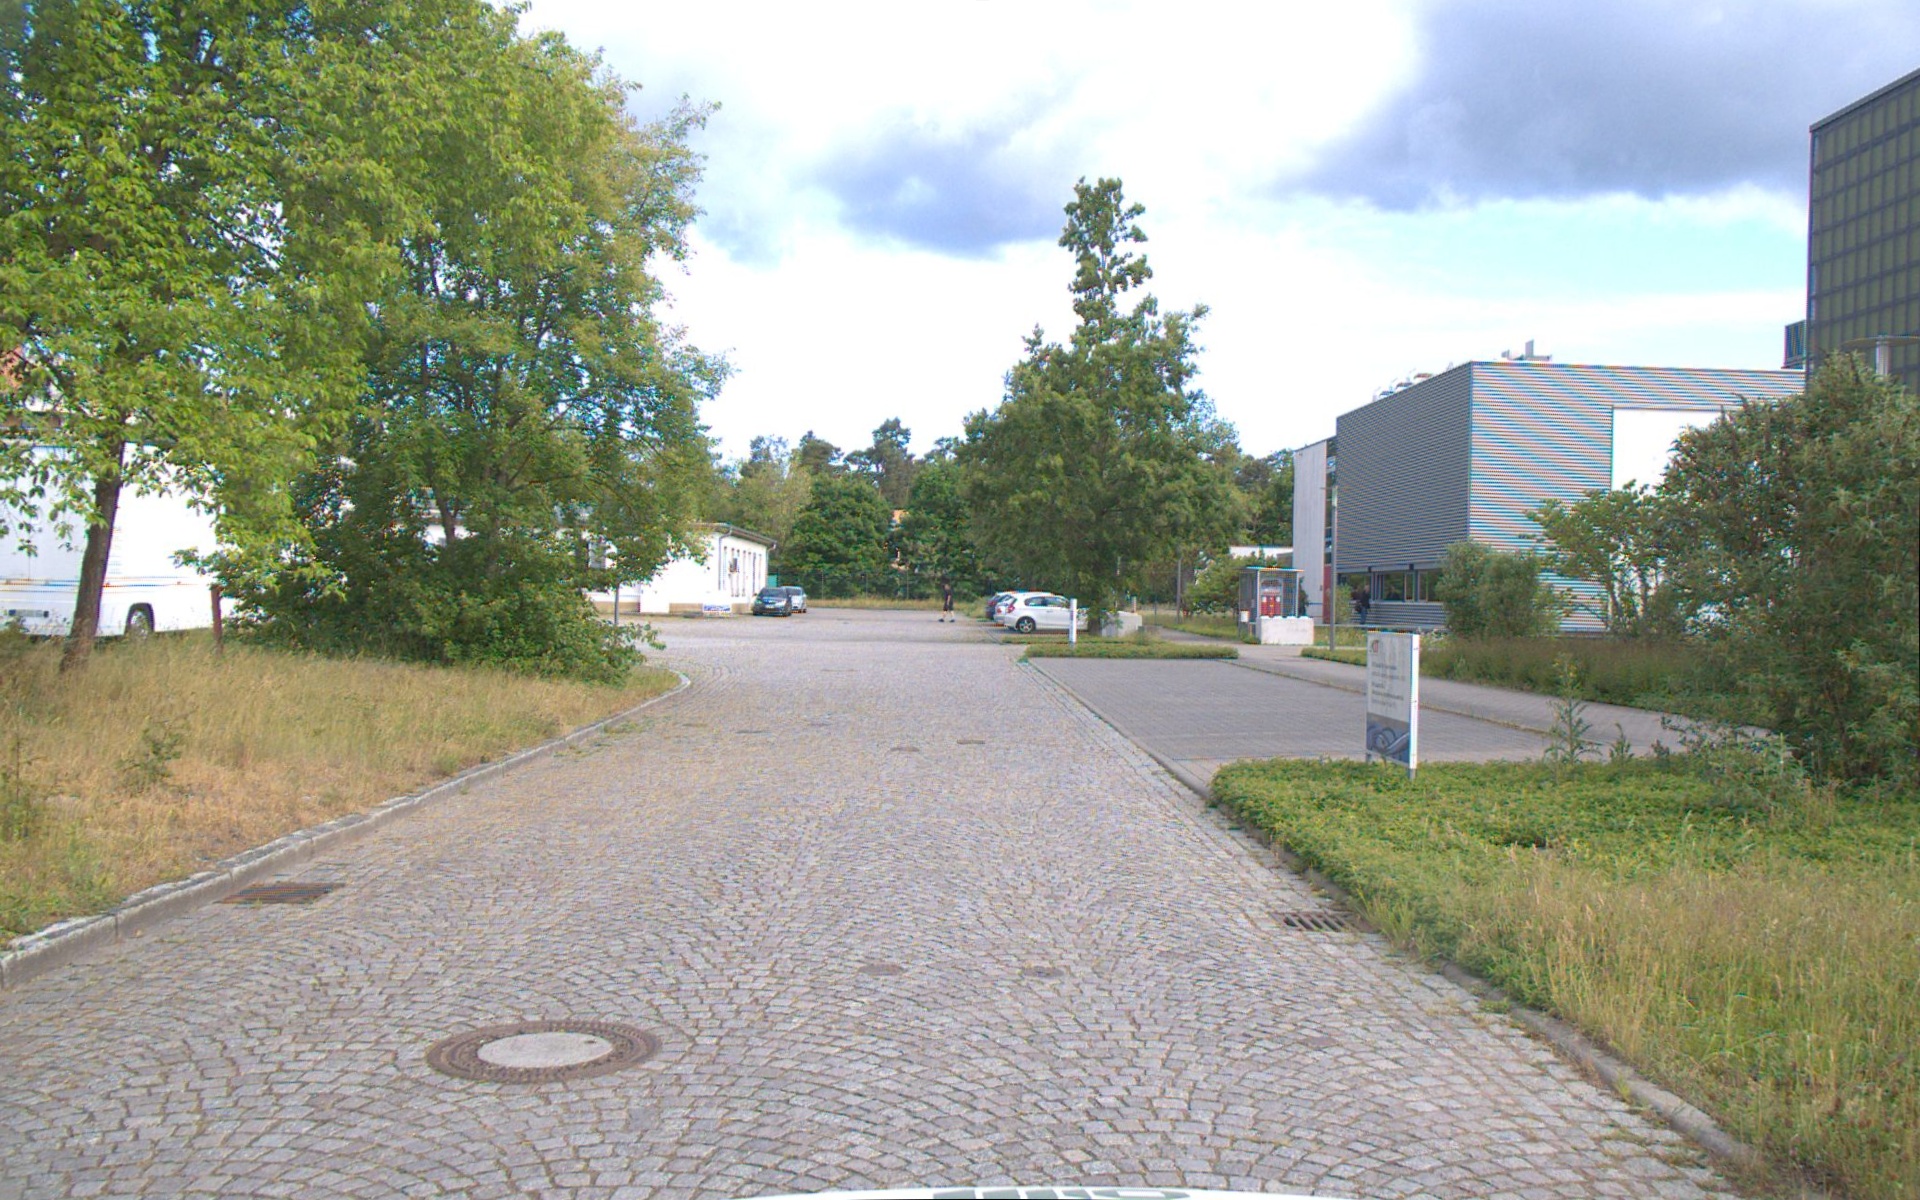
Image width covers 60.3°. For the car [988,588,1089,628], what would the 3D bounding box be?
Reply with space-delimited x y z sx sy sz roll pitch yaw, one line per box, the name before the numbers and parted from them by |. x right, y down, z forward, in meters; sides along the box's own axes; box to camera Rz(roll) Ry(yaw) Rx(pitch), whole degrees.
car | 3.134 0.311 66.340 3.906 1.481 1.769 1 0 -1

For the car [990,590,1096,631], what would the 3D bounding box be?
car | 3.151 0.393 63.300 3.906 1.481 1.697 1 0 -1

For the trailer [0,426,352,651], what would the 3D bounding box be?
trailer | -15.666 -1.073 33.408 2.602 3.770 10.722 1 0 1

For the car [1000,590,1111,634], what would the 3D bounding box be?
car | 3.492 0.454 61.140 3.906 1.481 1.999 2 -1 -1

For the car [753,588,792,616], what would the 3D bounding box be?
car | -9.584 0.102 84.745 1.714 1.387 3.997 1 0 -4

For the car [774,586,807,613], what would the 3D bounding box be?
car | -9.716 -0.026 94.974 1.714 1.480 3.997 1 0 -4

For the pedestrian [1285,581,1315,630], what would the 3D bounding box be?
pedestrian | 14.397 0.226 70.057 0.903 2.049 1.145 1 0 -7

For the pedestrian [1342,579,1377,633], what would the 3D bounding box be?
pedestrian | 14.945 0.223 61.822 0.908 1.970 0.846 1 0 -32

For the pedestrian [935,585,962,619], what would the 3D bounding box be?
pedestrian | -0.545 0.079 79.545 0.930 1.595 0.961 1 0 -31

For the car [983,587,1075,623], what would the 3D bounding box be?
car | 3.081 0.225 74.459 3.909 1.560 1.998 1 0 -5

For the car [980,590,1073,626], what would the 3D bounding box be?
car | 2.838 0.336 71.236 3.906 1.481 1.769 1 0 -1
